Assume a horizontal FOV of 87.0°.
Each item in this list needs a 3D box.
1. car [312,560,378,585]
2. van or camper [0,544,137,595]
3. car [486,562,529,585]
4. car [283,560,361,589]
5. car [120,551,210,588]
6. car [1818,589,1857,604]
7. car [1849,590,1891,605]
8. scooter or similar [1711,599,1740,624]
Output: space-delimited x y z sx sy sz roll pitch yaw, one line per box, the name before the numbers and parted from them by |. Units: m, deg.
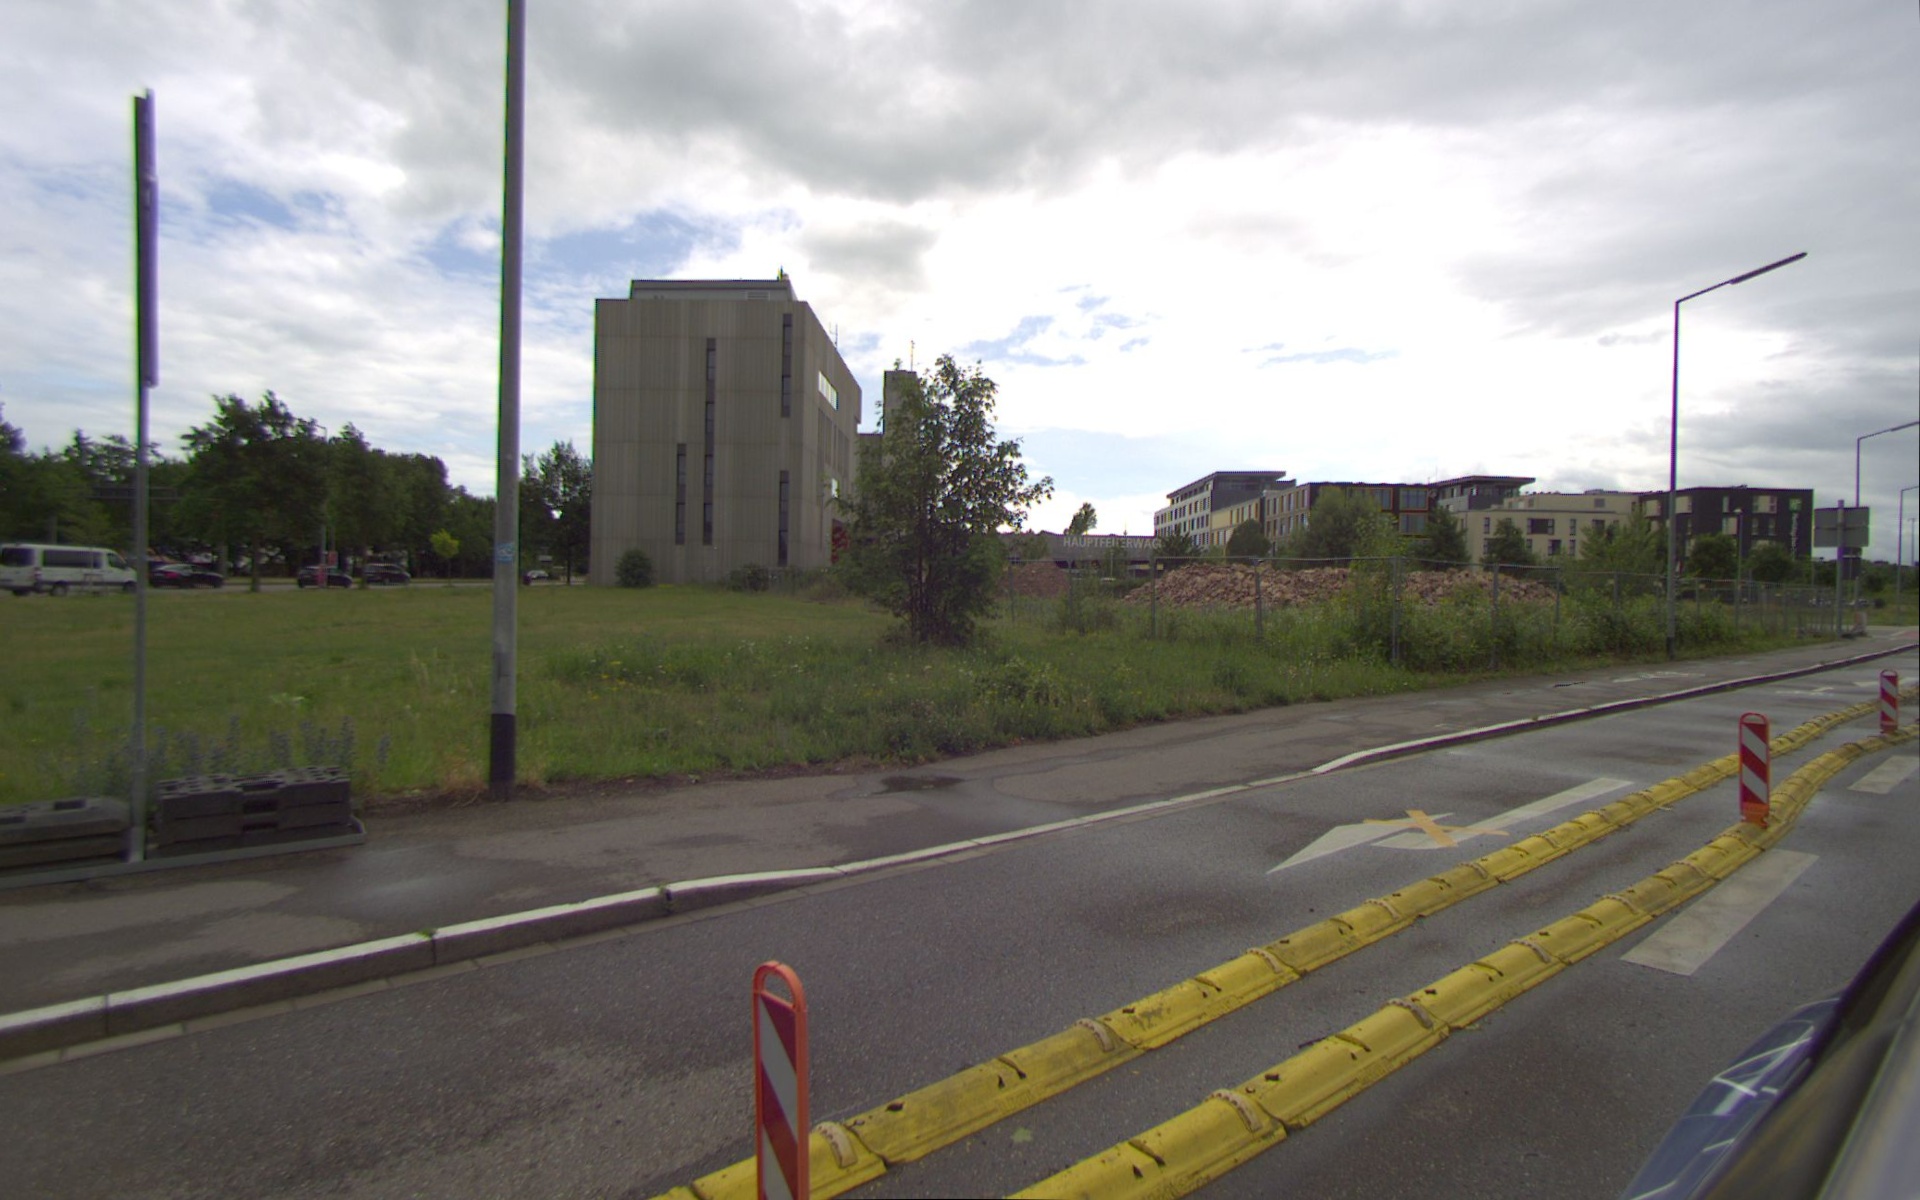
car | -46.541 -2.047 76.712 2.077 1.817 4.606 1 1 3
van or camper | -40.859 -1.382 46.239 1.963 2.142 5.551 1 1 1
car | -40.694 -2.377 91.139 2.075 1.941 4.209 1 1 -1
car | -43.263 -1.716 68.794 2.079 1.817 4.601 1 1 6
car | -45.798 -1.742 58.374 1.963 2.039 3.998 1 1 2
car | 127.732 -0.449 147.335 3.925 2.039 2.000 1 1 1
car | 126.674 -0.334 140.898 3.925 2.039 2.000 1 1 1
scooter or similar | 39.359 0.578 52.067 0.437 1.200 1.327 1 1 0
